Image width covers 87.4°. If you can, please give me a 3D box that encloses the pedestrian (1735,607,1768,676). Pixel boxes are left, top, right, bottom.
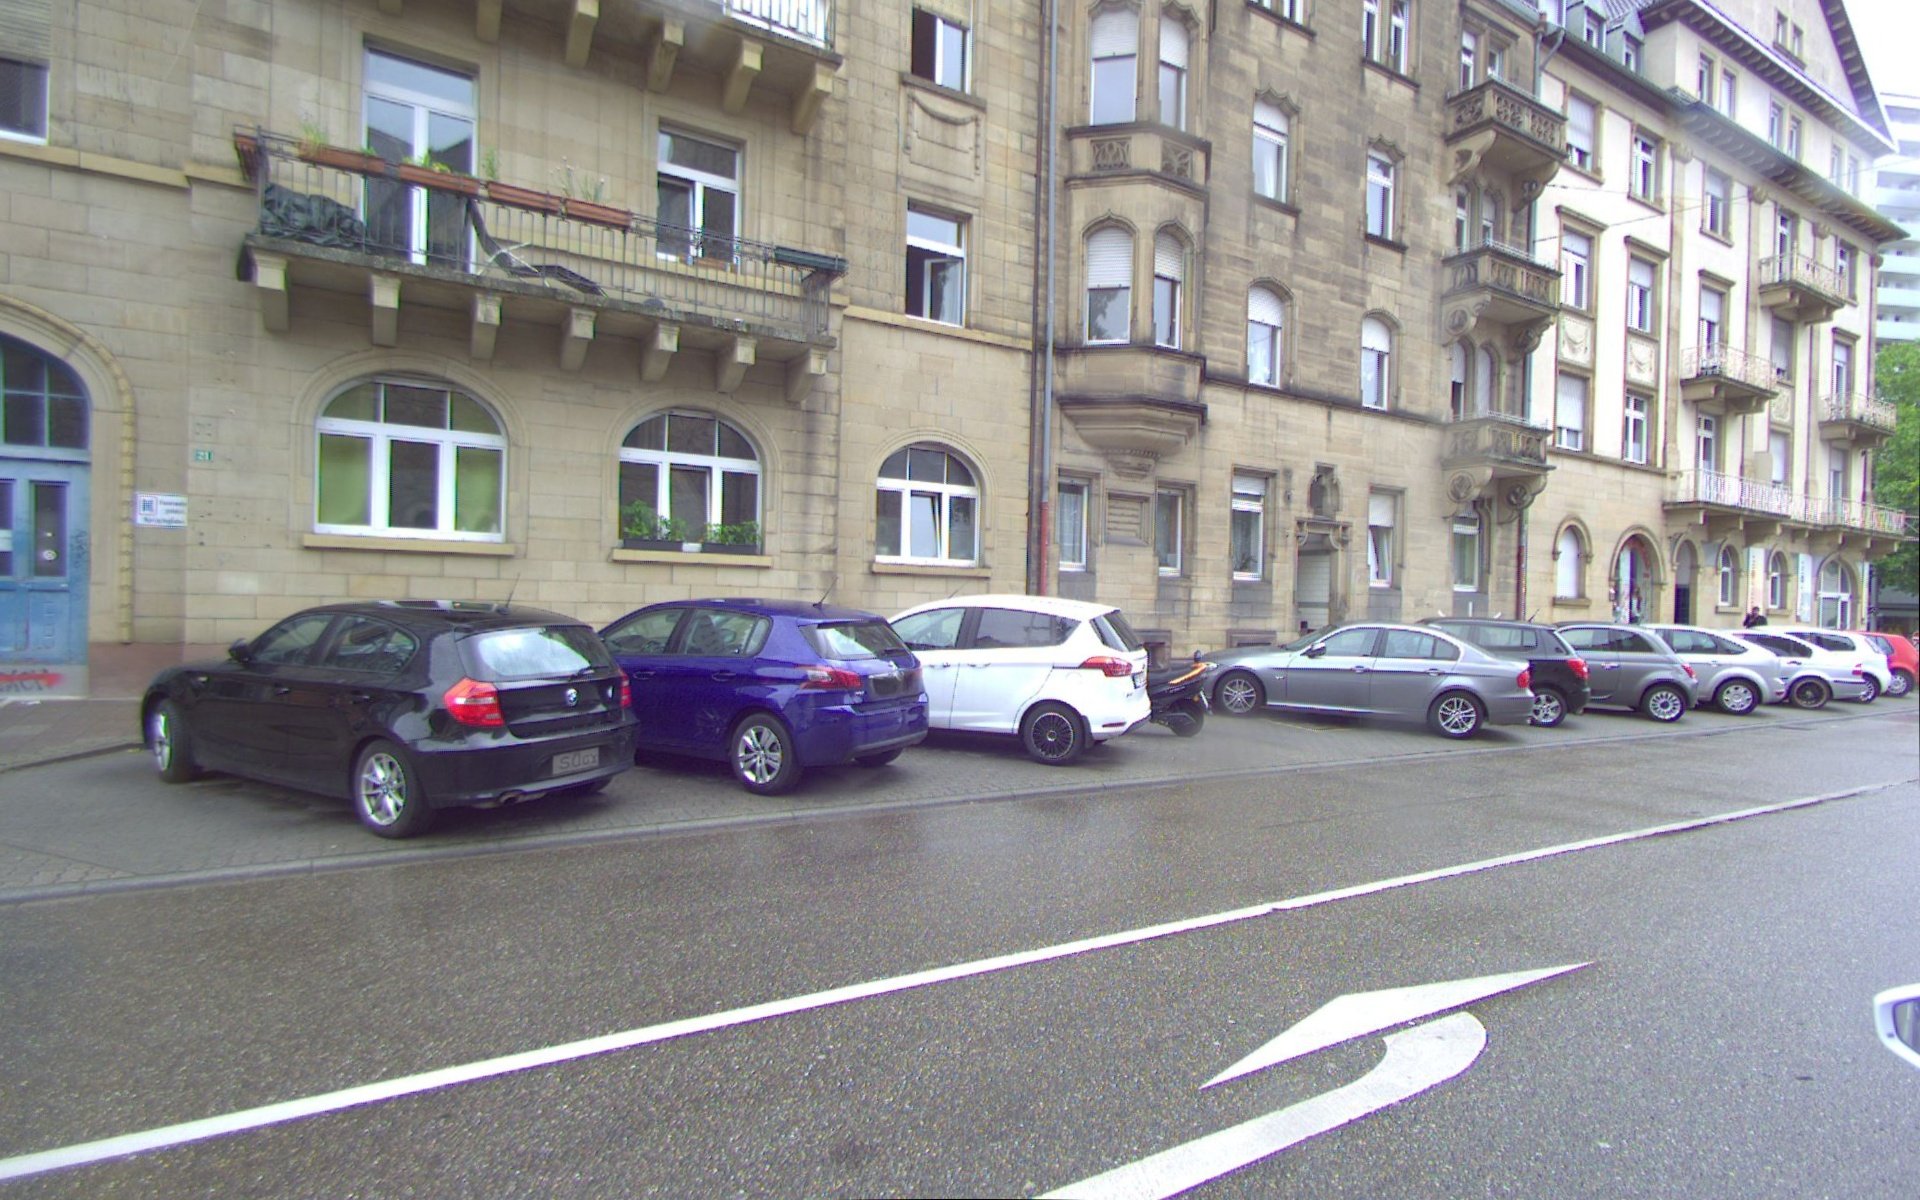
[{"bbox_3d":[23.908,1.251,30.346,0.647,2.040,0.565,1,0,-30],"label":"pedestrian"}]

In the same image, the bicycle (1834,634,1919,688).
[{"bbox_3d":[23.514,1.540,25.615,0.516,1.283,1.754,1,-1,-31],"label":"bicycle"}]

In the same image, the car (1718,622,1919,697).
[{"bbox_3d":[20.234,1.363,23.730,3.337,1.578,1.705,1,0,21],"label":"car"}]

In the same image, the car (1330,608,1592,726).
[{"bbox_3d":[7.685,0.973,15.757,3.484,1.619,1.605,1,0,21],"label":"car"}]

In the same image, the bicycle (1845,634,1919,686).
[{"bbox_3d":[24.486,1.569,26.368,0.492,1.283,1.801,1,-1,-31],"label":"bicycle"}]

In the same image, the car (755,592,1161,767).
[{"bbox_3d":[0.017,0.747,10.782,3.964,1.576,1.799,1,-1,20],"label":"car"}]

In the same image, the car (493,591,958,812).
[{"bbox_3d":[-2.181,0.746,9.104,3.972,1.594,1.795,1,-1,31],"label":"car"}]

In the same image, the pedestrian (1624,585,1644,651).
[{"bbox_3d":[19.140,0.505,28.513,0.343,1.846,0.364,2,-1,-32],"label":"pedestrian"}]

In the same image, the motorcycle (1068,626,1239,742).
[{"bbox_3d":[2.276,0.959,11.877,1.837,1.177,0.633,3,1,23],"label":"motorcycle"}]

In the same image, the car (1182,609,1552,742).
[{"bbox_3d":[5.425,0.953,13.883,4.457,1.565,1.689,1,0,17],"label":"car"}]

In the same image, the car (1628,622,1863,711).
[{"bbox_3d":[15.687,1.279,20.266,3.337,1.578,1.705,1,0,21],"label":"car"}]

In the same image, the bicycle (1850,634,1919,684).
[{"bbox_3d":[25.243,1.577,27.100,0.601,1.283,1.754,1,-1,-31],"label":"bicycle"}]

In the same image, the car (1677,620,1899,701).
[{"bbox_3d":[17.965,1.273,21.981,3.337,1.578,1.705,1,0,21],"label":"car"}]

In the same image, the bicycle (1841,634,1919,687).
[{"bbox_3d":[23.970,1.545,25.908,0.492,1.283,1.801,1,-1,-31],"label":"bicycle"}]

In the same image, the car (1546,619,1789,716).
[{"bbox_3d":[12.978,1.182,18.666,3.337,1.578,1.705,1,0,21],"label":"car"}]

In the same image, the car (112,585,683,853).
[{"bbox_3d":[-4.222,0.689,7.490,3.969,1.532,1.796,1,-1,27],"label":"car"}]

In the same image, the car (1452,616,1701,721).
[{"bbox_3d":[10.379,1.095,17.186,3.337,1.578,1.652,1,0,21],"label":"car"}]

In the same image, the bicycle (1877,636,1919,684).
[{"bbox_3d":[26.145,1.642,27.260,0.601,1.283,1.754,1,-1,-31],"label":"bicycle"}]
